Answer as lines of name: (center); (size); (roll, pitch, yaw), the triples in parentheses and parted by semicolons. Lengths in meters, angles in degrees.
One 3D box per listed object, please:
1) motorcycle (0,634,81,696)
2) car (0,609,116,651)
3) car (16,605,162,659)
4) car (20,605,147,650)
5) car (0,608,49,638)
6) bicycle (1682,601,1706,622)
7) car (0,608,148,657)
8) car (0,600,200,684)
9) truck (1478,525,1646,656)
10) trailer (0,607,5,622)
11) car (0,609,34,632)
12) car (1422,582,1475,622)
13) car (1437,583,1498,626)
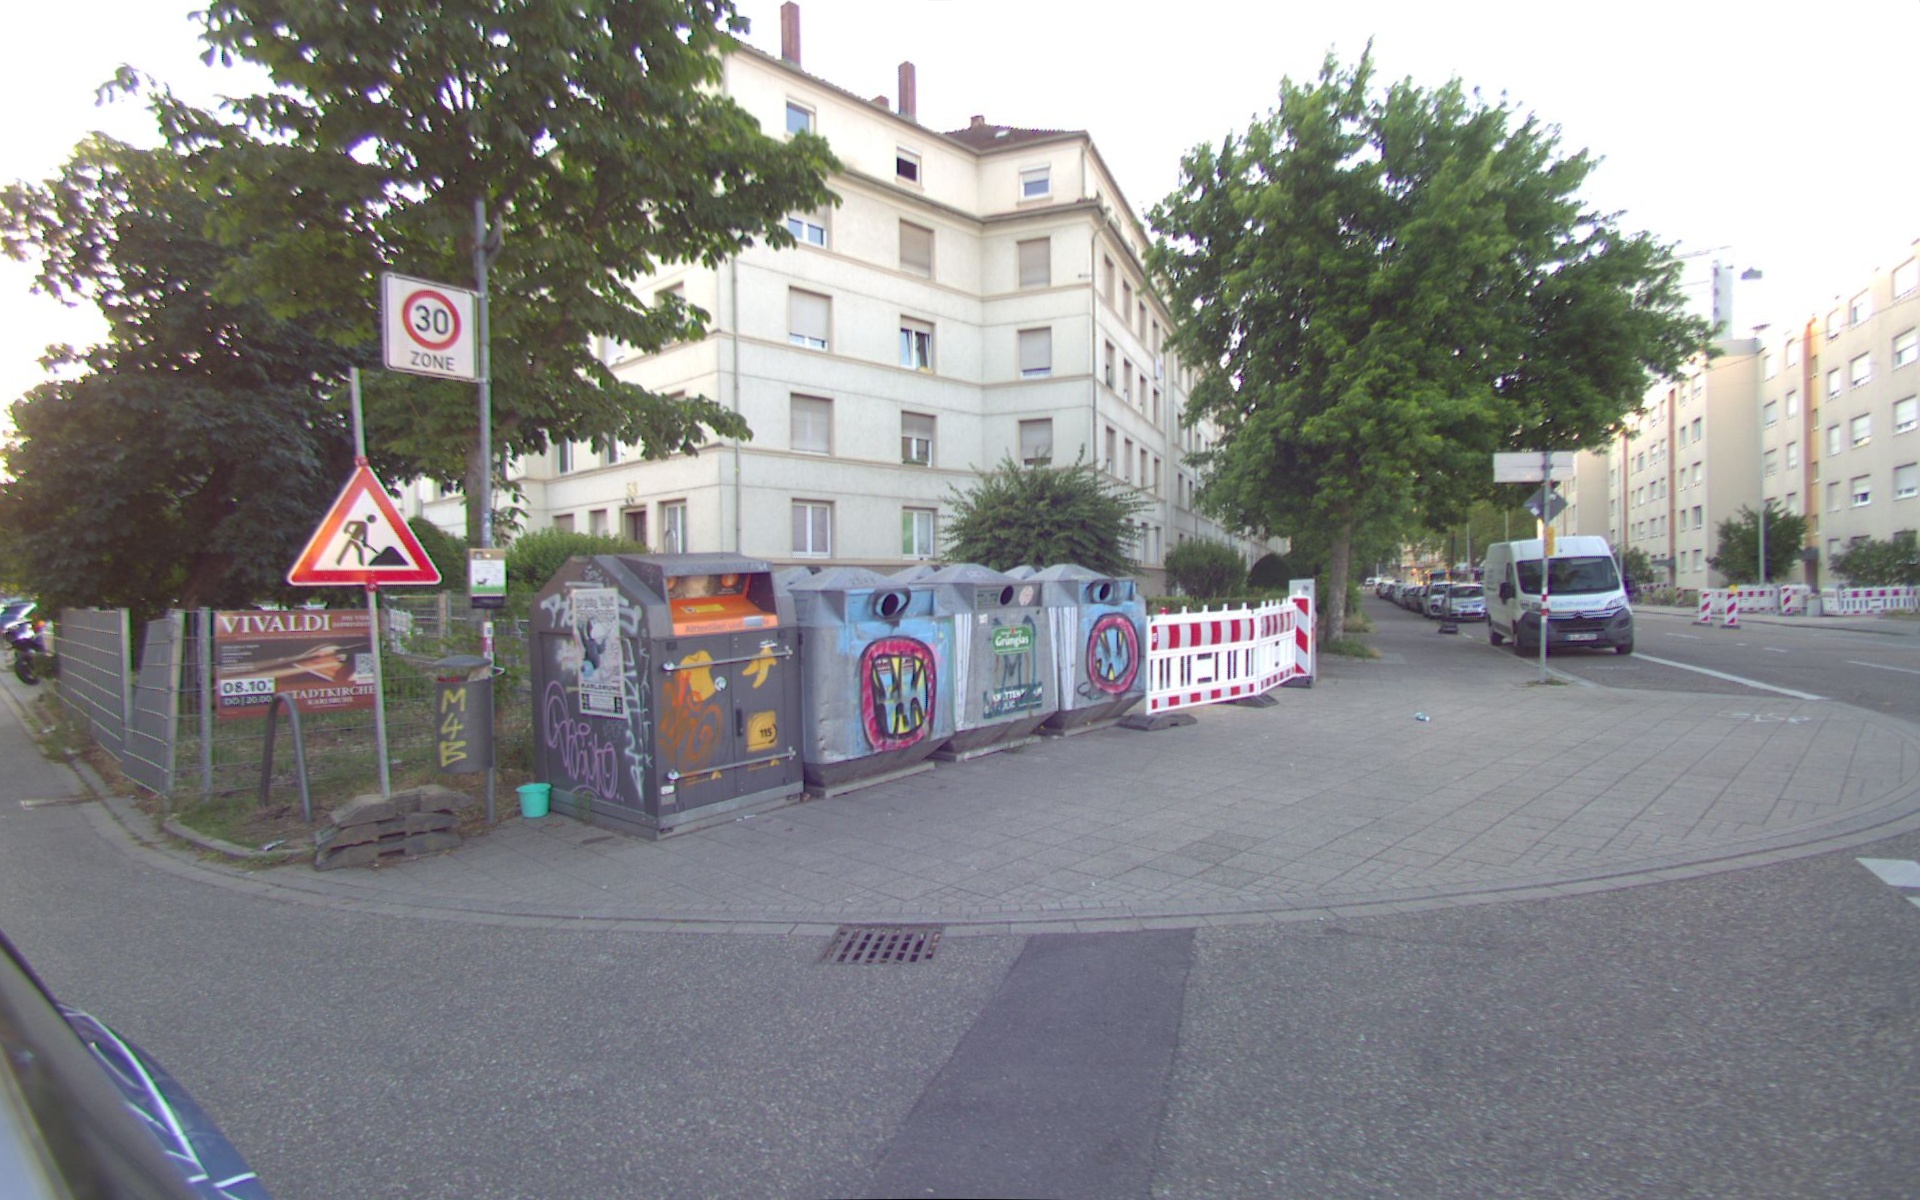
motorcycle: (-18.333, 1.262, 20.011); (0.530, 1.028, 2.218); (-4, 2, -17)
car: (-36.393, 1.173, 40.668); (3.634, 1.456, 1.730); (-3, 2, -44)
car: (-29.274, 1.027, 34.085); (1.726, 1.578, 3.441); (0, 2, 39)
car: (-34.002, 1.026, 39.297); (3.634, 1.495, 1.730); (-3, 2, -44)
car: (-50.795, 1.271, 53.519); (1.728, 1.495, 3.661); (-1, 2, 42)
bicycle: (42.321, 0.659, 58.378); (0.615, 1.115, 2.217); (-1, 0, 24)
car: (-32.110, 1.144, 36.727); (3.932, 1.500, 1.729); (-3, 2, -44)
car: (-20.189, 0.922, 23.642); (1.693, 1.568, 3.584); (-1, 3, 44)
truck: (12.997, -0.184, 22.286); (2.093, 2.441, 6.003); (-3, 0, 21)
trailer: (-135.484, 2.099, 140.672); (3.627, 2.084, 2.006); (-2, 1, -32)
car: (-91.474, 2.001, 96.371); (4.717, 2.085, 2.003); (-1, 0, -41)
car: (21.817, 0.093, 45.325); (1.750, 1.616, 3.899); (-4, -1, 22)
car: (19.975, 0.170, 39.961); (1.750, 1.494, 3.899); (-4, -1, 22)
